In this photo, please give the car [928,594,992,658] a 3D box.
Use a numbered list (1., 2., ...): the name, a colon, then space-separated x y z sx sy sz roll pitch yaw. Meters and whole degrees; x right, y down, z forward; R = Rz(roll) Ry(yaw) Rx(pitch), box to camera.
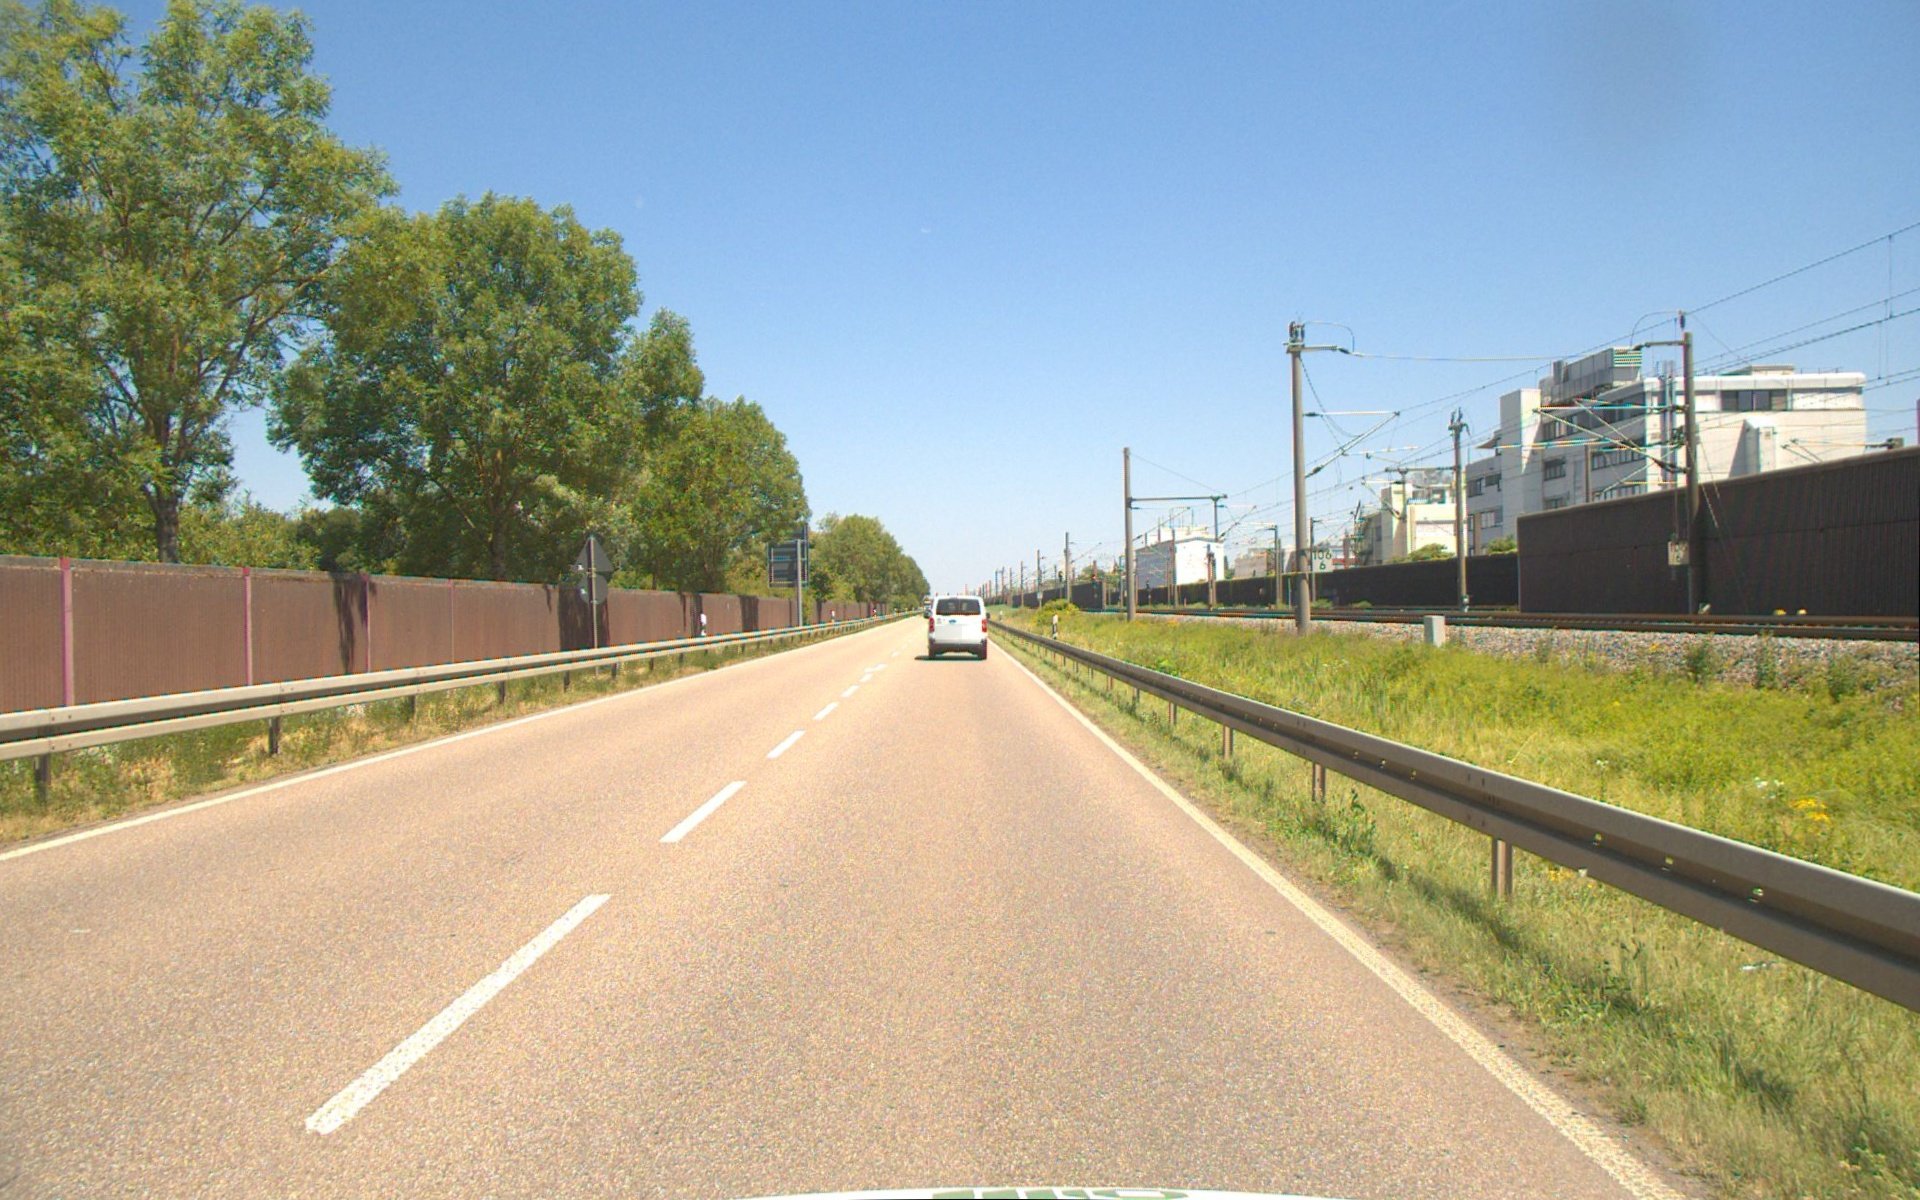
1. car: -0.012 0.802 52.034 1.906 1.914 4.880 0 -1 0
